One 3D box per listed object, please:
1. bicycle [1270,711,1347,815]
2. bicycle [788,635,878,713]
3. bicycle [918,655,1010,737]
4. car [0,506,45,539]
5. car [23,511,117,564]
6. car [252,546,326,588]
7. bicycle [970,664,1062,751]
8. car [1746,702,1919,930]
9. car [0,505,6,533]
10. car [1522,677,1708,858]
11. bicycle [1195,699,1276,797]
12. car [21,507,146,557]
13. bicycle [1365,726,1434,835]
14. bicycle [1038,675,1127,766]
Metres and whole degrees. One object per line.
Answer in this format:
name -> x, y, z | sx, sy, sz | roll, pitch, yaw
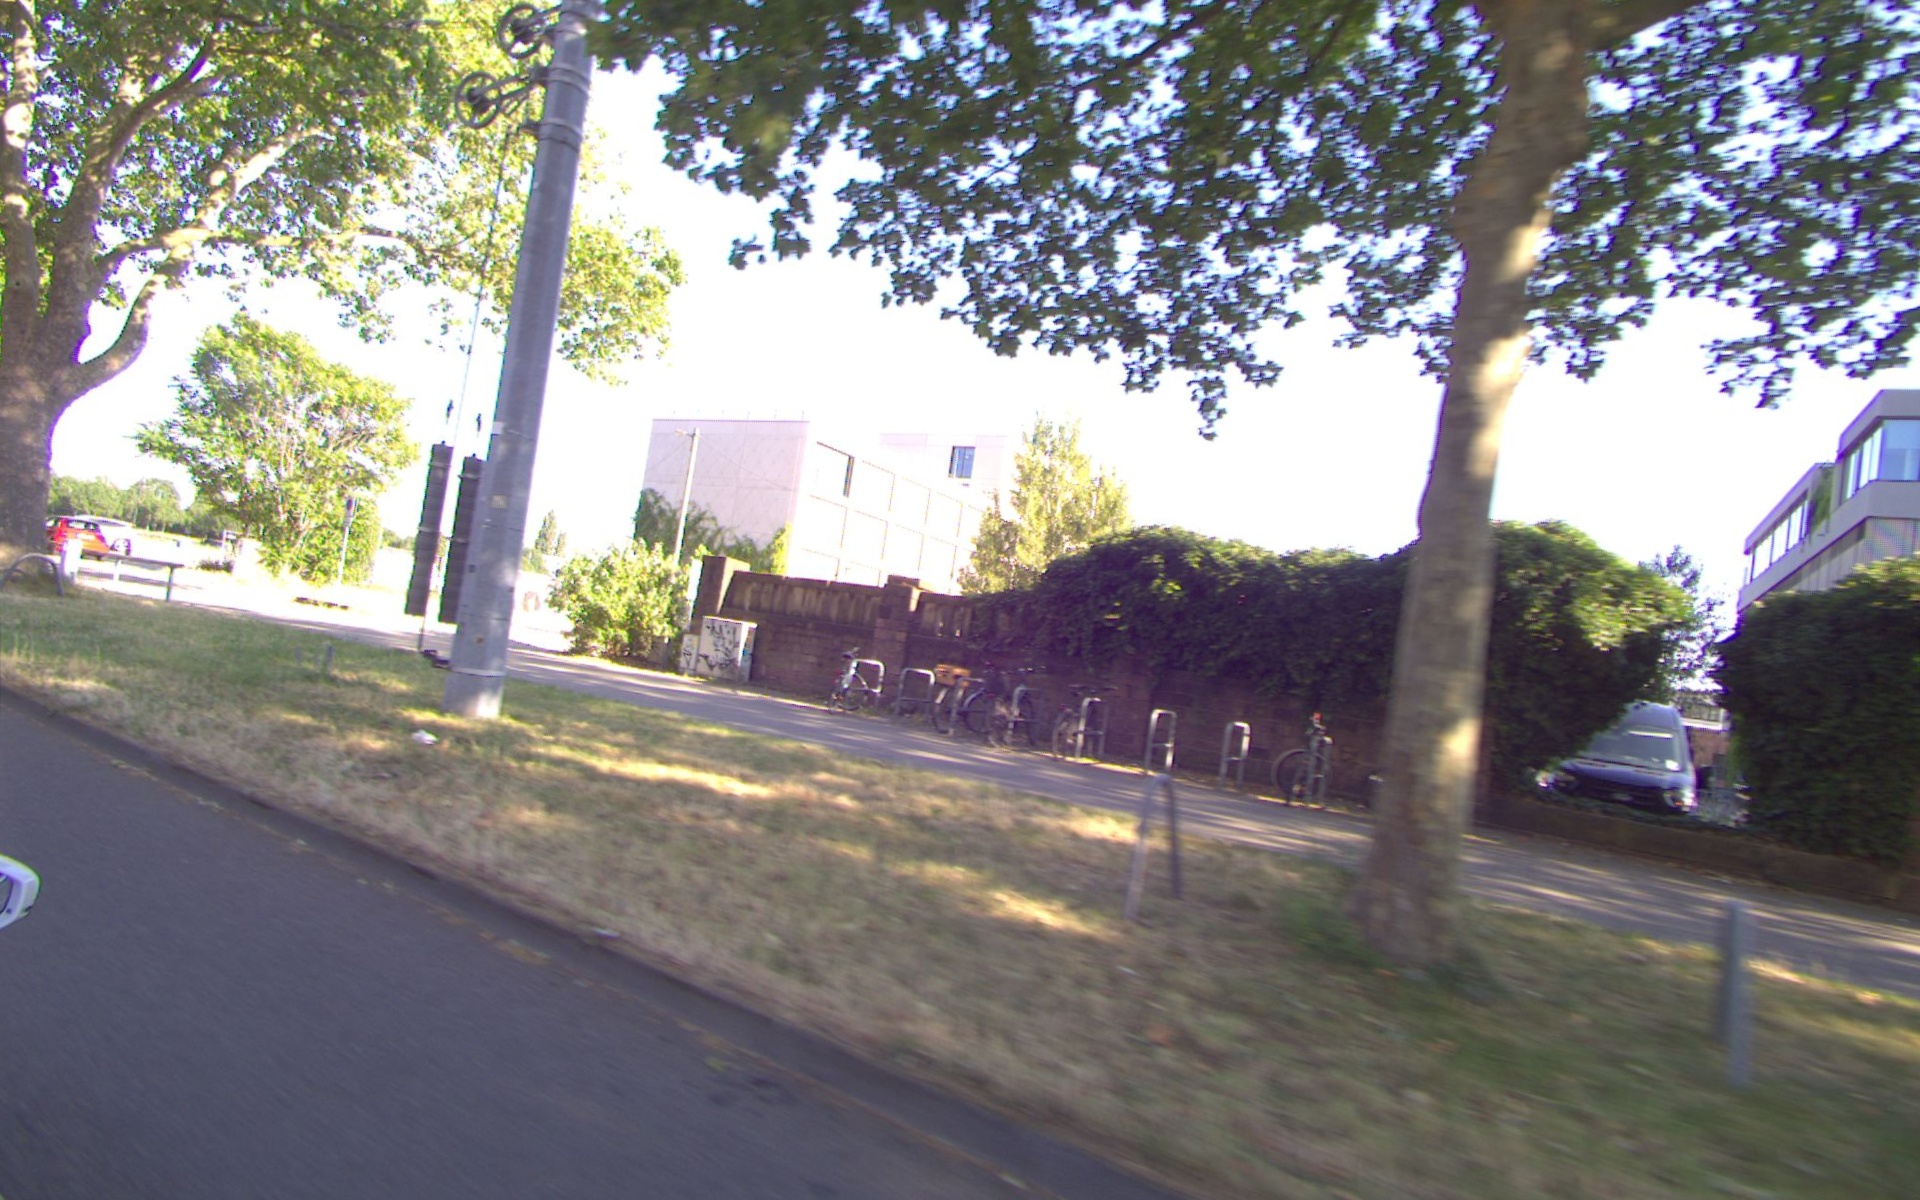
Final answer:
bicycle -> 4.329, 1.981, 12.430 | 0.432, 1.133, 1.777 | 7, -2, 31
bicycle -> -2.001, 1.207, 16.073 | 0.431, 1.133, 1.779 | 7, -2, 24
bicycle -> 0.084, 1.474, 15.271 | 0.432, 1.133, 1.777 | 7, -2, 31
car -> -59.514, -4.991, 62.289 | 1.642, 1.626, 3.823 | 7, -4, 32
car -> -34.666, -2.430, 39.167 | 3.740, 1.532, 1.619 | 7, -3, 32
car -> -35.049, -1.717, 52.527 | 3.933, 1.627, 1.570 | 7, -3, 31
bicycle -> 0.835, 1.558, 14.535 | 0.432, 1.133, 1.777 | 7, -2, 31
car -> 12.725, 2.962, 13.923 | 1.967, 2.515, 5.479 | 7, -4, 31
car -> -66.405, -5.815, 66.430 | 1.965, 1.835, 4.368 | 7, -4, 28
car -> 10.077, 2.520, 15.728 | 1.967, 2.161, 3.997 | 7, -3, 31
bicycle -> 3.584, 1.887, 12.993 | 0.432, 1.133, 1.777 | 7, -2, 31
car -> -45.909, -3.550, 52.780 | 1.888, 1.676, 4.466 | 7, -4, 36
bicycle -> 5.213, 2.086, 11.874 | 0.432, 1.133, 1.691 | 7, -2, 31
bicycle -> 1.731, 1.671, 13.963 | 0.432, 1.133, 1.777 | 7, -2, 31
